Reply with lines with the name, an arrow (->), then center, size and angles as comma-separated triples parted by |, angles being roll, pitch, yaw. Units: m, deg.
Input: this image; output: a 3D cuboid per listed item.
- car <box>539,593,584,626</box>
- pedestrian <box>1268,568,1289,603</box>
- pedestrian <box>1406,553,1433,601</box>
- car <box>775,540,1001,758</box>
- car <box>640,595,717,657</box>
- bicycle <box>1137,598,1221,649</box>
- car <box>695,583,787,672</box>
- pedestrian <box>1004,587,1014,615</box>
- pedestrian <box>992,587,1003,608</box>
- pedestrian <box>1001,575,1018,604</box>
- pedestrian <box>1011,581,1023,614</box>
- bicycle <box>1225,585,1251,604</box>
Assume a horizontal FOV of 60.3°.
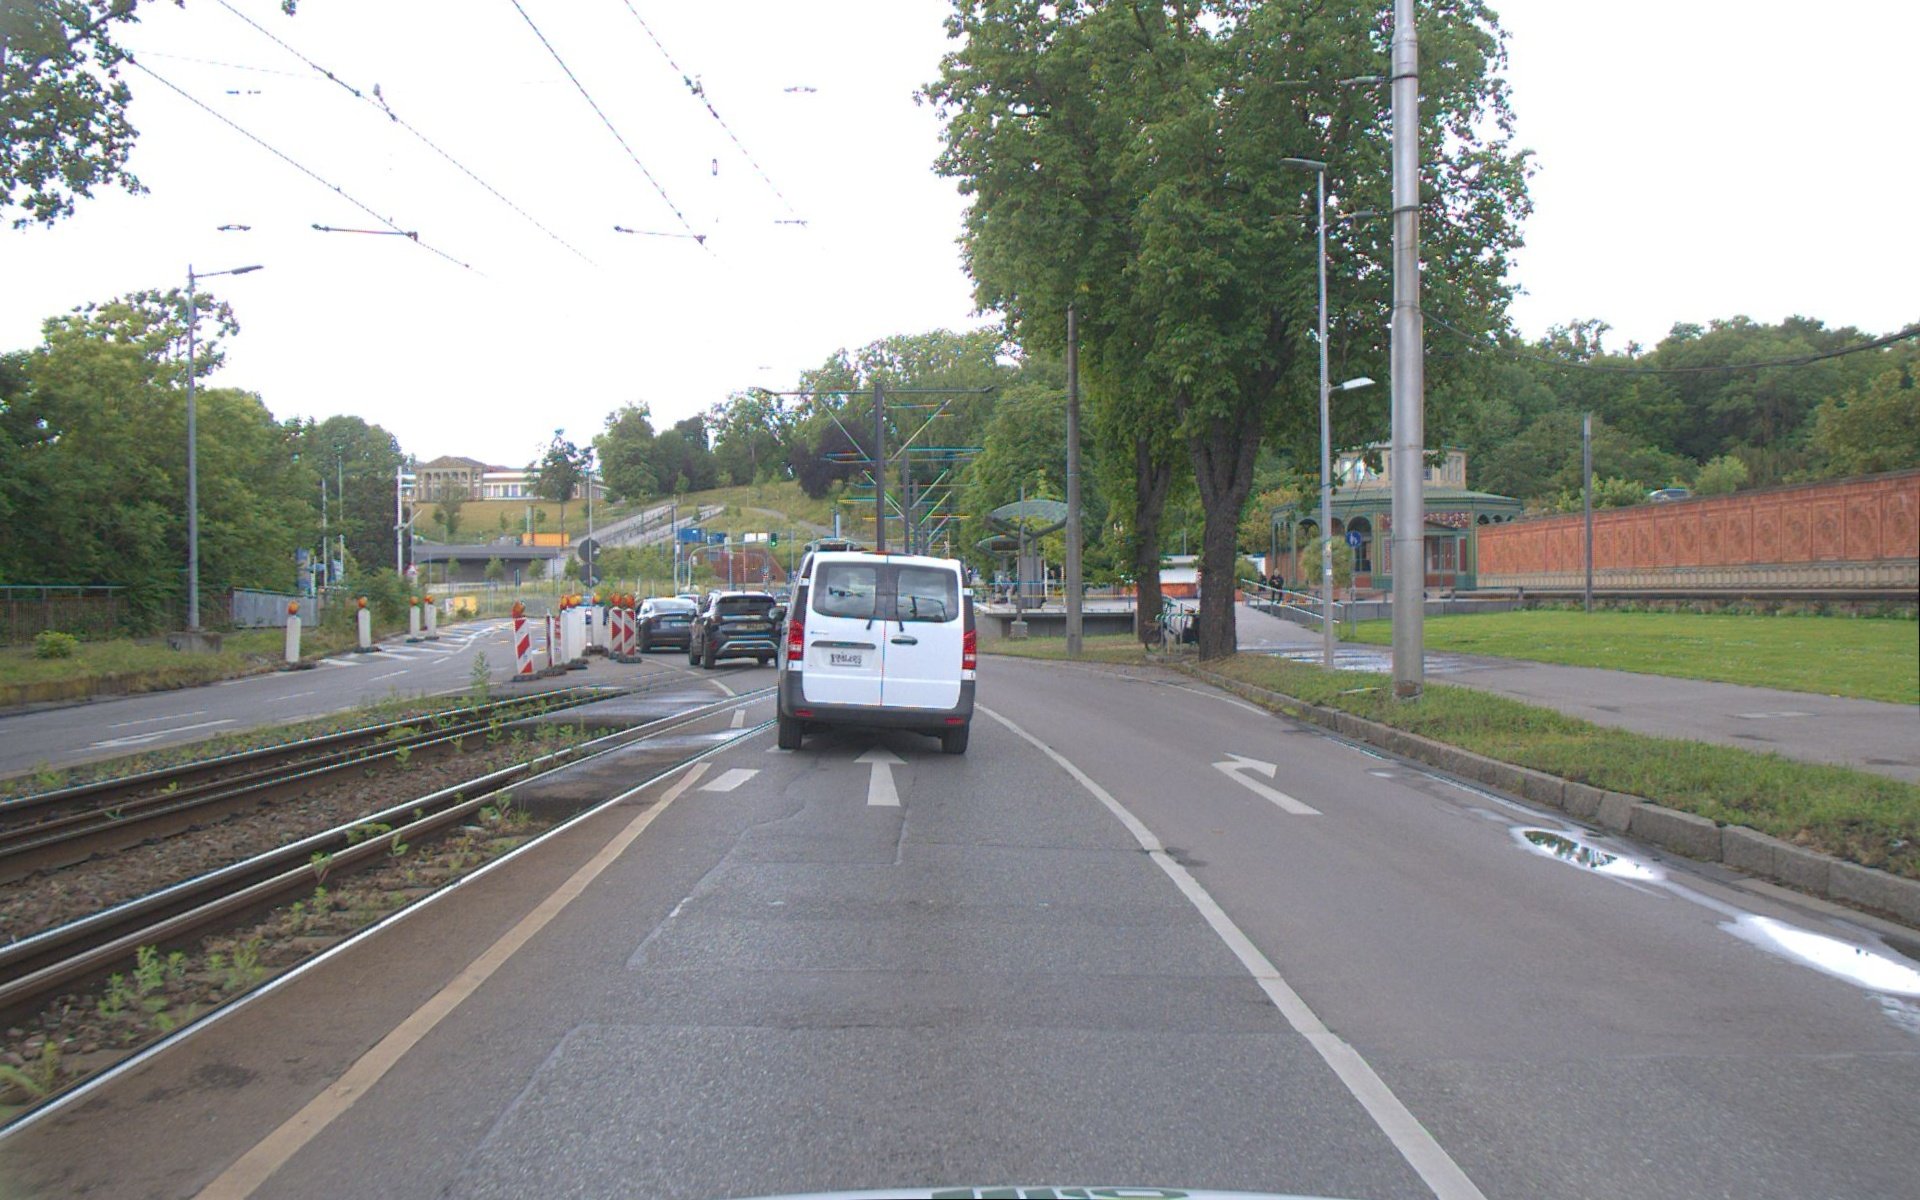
car -> -19.297, 0.432, 80.203 | 1.663, 1.487, 3.906 | -2, 1, -8
pedestrian -> 11.427, -0.518, 59.378 | 0.537, 1.222, 0.668 | 1, -1, -7
pedestrian -> 18.257, -0.907, 65.733 | 0.931, 1.870, 0.549 | 1, -1, 29
car -> -0.885, 0.455, 17.064 | 1.922, 1.937, 4.453 | 1, 0, -8
car -> -7.704, 0.682, 45.012 | 1.807, 1.610, 4.048 | 1, 0, -13
bicycle -> 5.300, 0.568, 40.065 | 1.949, 1.178, 0.741 | -1, 0, 4
car -> -4.644, 0.558, 34.953 | 1.804, 1.759, 4.054 | 1, 0, -8
pedestrian -> 2.892, 0.054, 97.795 | 0.513, 1.648, 0.676 | 1, -1, 1
pedestrian -> 2.259, -0.157, 99.122 | 0.644, 1.212, 0.676 | 1, -1, 1
pedestrian -> 2.964, -0.630, 99.028 | 0.844, 1.706, 0.760 | 1, -1, -10
pedestrian -> 3.266, -0.151, 95.072 | 0.619, 1.870, 0.950 | 1, -1, 1
bicycle -> 16.509, -0.320, 98.298 | 0.556, 1.080, 1.698 | 2, -1, -30
